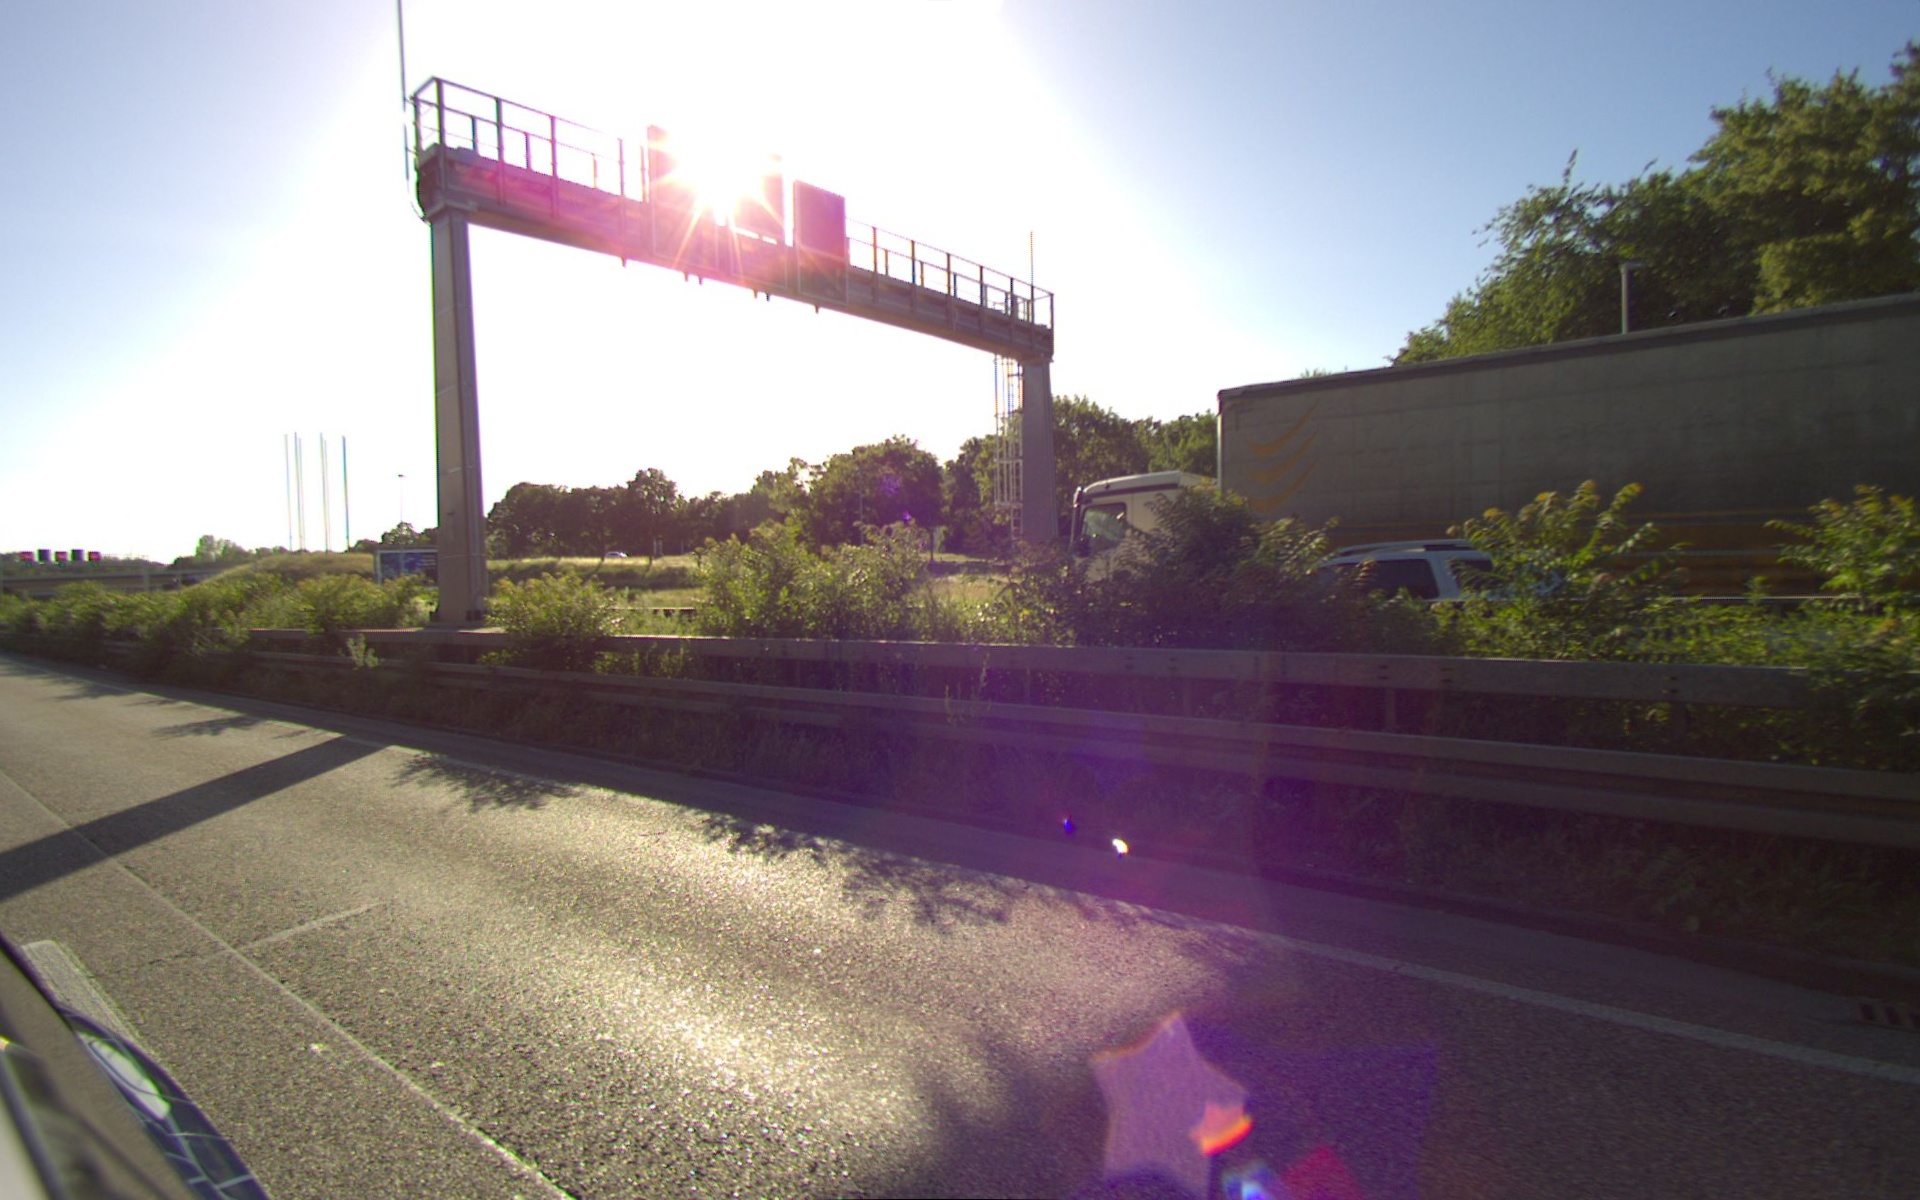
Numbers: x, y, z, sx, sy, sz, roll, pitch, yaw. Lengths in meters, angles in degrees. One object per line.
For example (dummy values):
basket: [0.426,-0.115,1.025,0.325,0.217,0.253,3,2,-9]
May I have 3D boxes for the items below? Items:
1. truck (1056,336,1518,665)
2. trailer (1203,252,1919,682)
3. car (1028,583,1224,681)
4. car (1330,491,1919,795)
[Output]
truck: [4.723,-1.173,15.186,5.897,3.942,2.972,-1,0,41]
trailer: [9.685,-1.249,10.806,14.020,4.018,2.991,-1,0,41]
car: [3.773,0.689,23.342,3.998,2.029,1.973,-1,0,41]
car: [5.580,0.292,8.768,3.998,2.029,1.973,-1,0,41]
